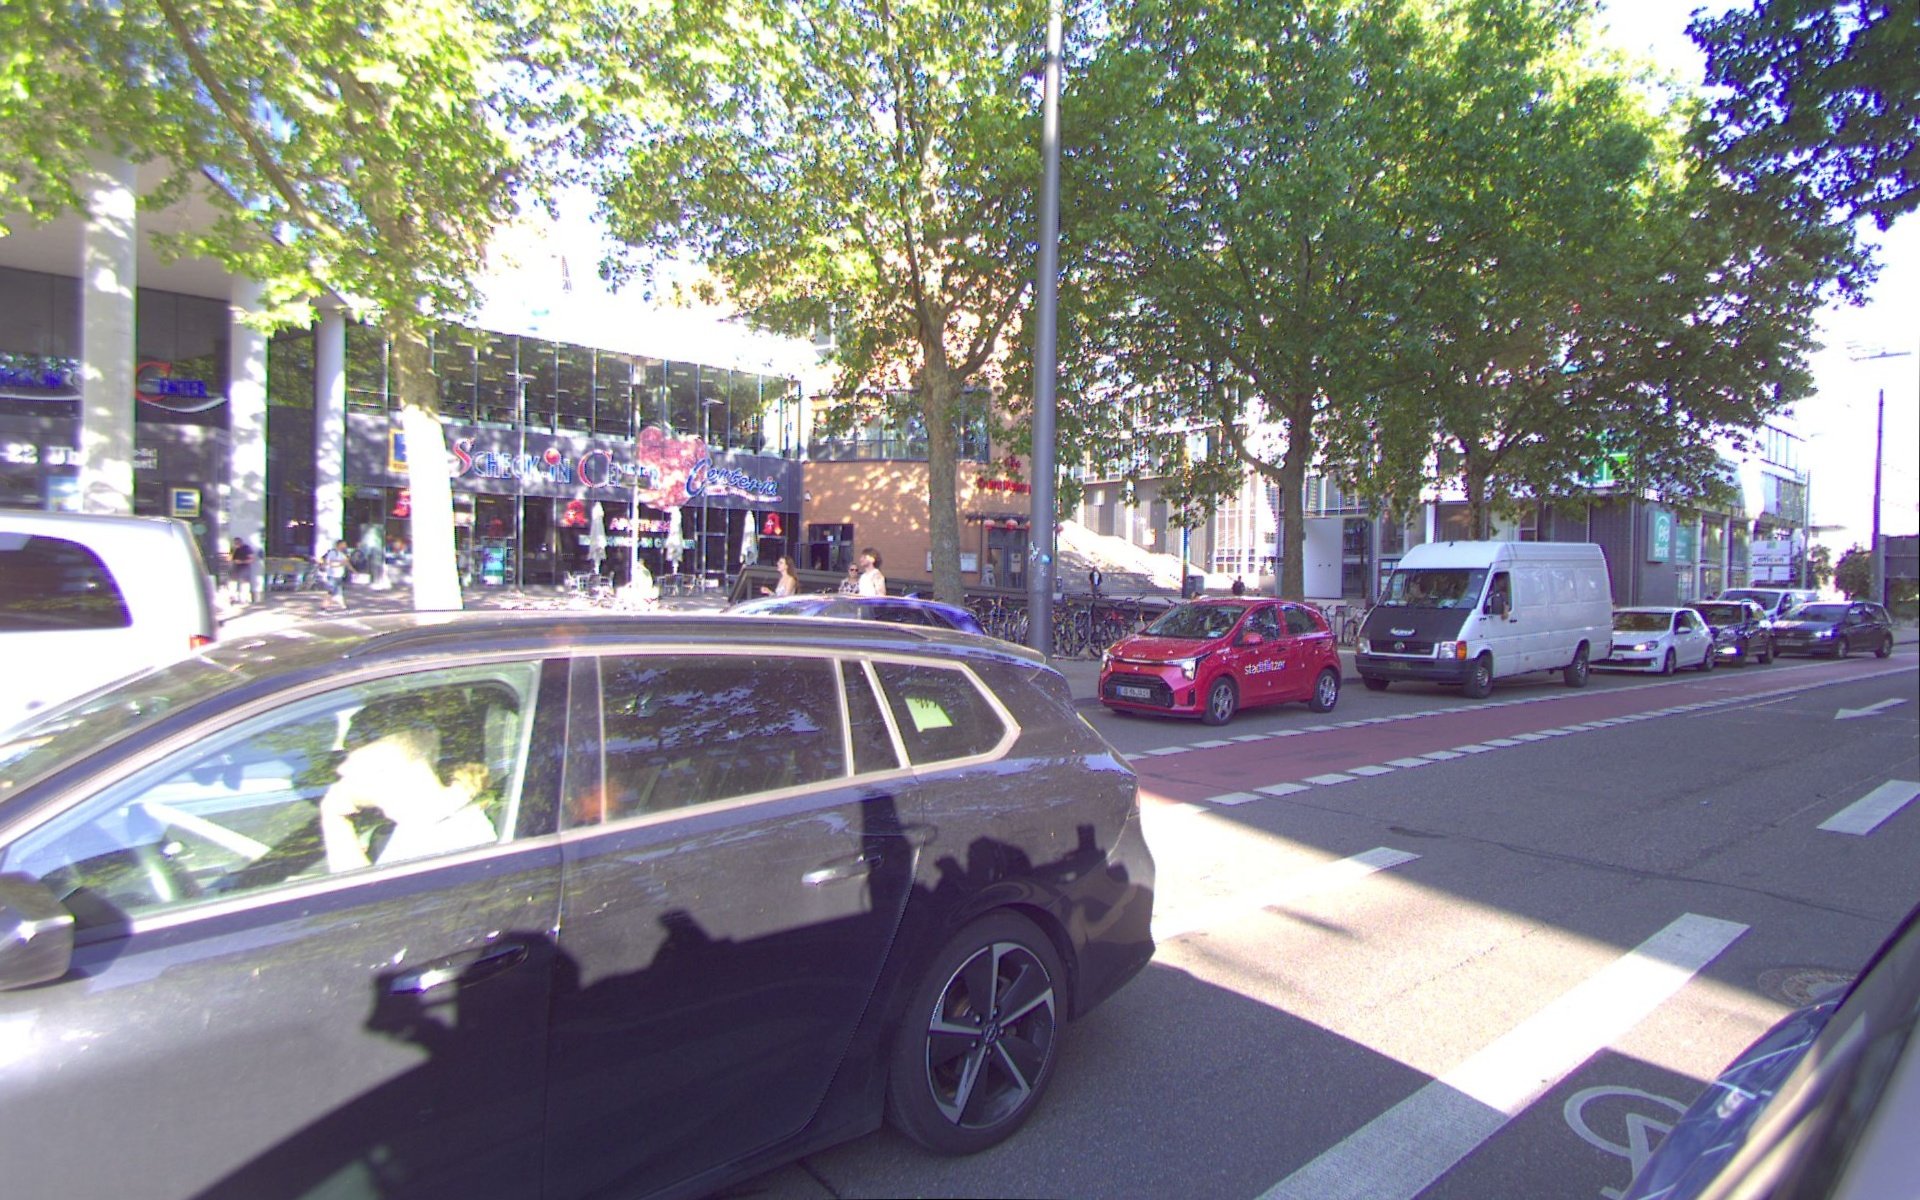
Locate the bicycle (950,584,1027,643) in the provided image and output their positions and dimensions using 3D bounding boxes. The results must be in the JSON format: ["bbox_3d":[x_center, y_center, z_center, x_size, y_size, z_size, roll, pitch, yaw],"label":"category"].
[{"bbox_3d":[0.632,0.273,21.698,1.818,1.209,0.434,0,1,-41],"label":"bicycle"}]

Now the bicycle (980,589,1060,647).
[{"bbox_3d":[1.251,0.353,20.965,1.818,1.139,0.484,0,2,-41],"label":"bicycle"}]

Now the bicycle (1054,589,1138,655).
[{"bbox_3d":[2.617,0.400,19.361,1.818,1.209,0.481,0,1,-41],"label":"bicycle"}]

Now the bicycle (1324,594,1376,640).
[{"bbox_3d":[10.660,0.459,27.628,1.818,1.209,0.495,0,1,-41],"label":"bicycle"}]

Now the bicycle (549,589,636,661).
[{"bbox_3d":[-5.877,0.379,16.232,0.414,1.110,1.269,2,1,41],"label":"bicycle"}]

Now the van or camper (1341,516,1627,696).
[{"bbox_3d":[9.269,0.077,17.556,6.456,2.611,1.998,0,0,-39],"label":"van or camper"}]

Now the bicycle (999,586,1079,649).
[{"bbox_3d":[1.624,0.340,20.517,1.818,1.209,0.447,0,1,-41],"label":"bicycle"}]

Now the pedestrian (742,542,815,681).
[{"bbox_3d":[-2.449,0.140,13.614,0.749,1.799,0.649,1,1,-33],"label":"pedestrian"}]

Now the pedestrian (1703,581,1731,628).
[{"bbox_3d":[29.041,0.167,38.822,0.516,1.790,0.716,0,1,-39],"label":"pedestrian"}]

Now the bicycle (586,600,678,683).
[{"bbox_3d":[-4.585,0.566,14.177,1.202,1.110,0.269,0,1,-40],"label":"bicycle"}]

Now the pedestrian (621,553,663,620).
[{"bbox_3d":[-8.311,-0.360,26.493,0.793,1.728,0.716,1,1,10],"label":"pedestrian"}]

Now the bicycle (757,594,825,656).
[{"bbox_3d":[-3.135,0.446,18.820,1.202,1.110,0.427,0,1,-40],"label":"bicycle"}]

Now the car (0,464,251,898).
[{"bbox_3d":[-6.220,0.347,4.367,5.008,2.004,1.940,0,2,-41],"label":"car"}]

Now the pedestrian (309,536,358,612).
[{"bbox_3d":[-15.227,-0.633,24.599,0.868,1.805,0.604,1,1,-16],"label":"pedestrian"}]

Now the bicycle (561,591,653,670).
[{"bbox_3d":[-5.161,0.425,14.836,1.202,1.110,0.396,0,1,-40],"label":"bicycle"}]

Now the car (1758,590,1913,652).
[{"bbox_3d":[25.219,0.581,29.148,4.242,1.640,1.970,0,1,-28],"label":"car"}]

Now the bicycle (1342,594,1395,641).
[{"bbox_3d":[10.998,0.450,27.209,1.818,1.209,0.521,0,2,-41],"label":"bicycle"}]

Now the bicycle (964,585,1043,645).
[{"bbox_3d":[0.930,0.298,21.345,1.818,1.209,0.458,0,1,-41],"label":"bicycle"}]

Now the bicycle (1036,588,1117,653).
[{"bbox_3d":[2.294,0.389,19.747,1.818,1.209,0.448,0,1,-41],"label":"bicycle"}]

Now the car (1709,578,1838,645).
[{"bbox_3d":[26.427,0.346,32.830,4.863,2.020,1.968,0,1,-35],"label":"car"}]

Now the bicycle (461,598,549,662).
[{"bbox_3d":[-6.963,0.455,15.539,1.198,0.930,0.442,1,1,-22],"label":"bicycle"}]

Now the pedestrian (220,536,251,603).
[{"bbox_3d":[-18.768,-0.799,26.224,0.506,1.707,0.604,1,1,-23],"label":"pedestrian"}]

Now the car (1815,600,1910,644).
[{"bbox_3d":[31.687,0.738,35.517,3.927,1.394,1.802,0,2,-38],"label":"car"}]

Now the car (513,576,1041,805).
[{"bbox_3d":[-1.383,0.587,8.677,4.177,1.504,1.741,0,0,-41],"label":"car"}]

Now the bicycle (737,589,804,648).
[{"bbox_3d":[-3.647,0.345,19.502,1.202,1.110,0.444,0,1,-40],"label":"bicycle"}]

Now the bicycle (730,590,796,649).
[{"bbox_3d":[-3.892,0.374,20.045,1.202,1.110,0.429,0,1,-40],"label":"bicycle"}]

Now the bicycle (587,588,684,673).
[{"bbox_3d":[-4.439,0.400,13.880,1.202,1.110,0.413,0,1,-40],"label":"bicycle"}]

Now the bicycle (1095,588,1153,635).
[{"bbox_3d":[4.396,0.307,27.050,1.759,1.209,0.517,0,1,-41],"label":"bicycle"}]

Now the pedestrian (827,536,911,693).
[{"bbox_3d":[-1.131,0.165,12.583,0.798,1.868,0.644,1,1,-36],"label":"pedestrian"}]

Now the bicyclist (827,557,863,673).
[{"bbox_3d":[-1.795,0.228,15.802,0.392,1.782,0.390,0,1,-41],"label":"bicyclist"}]

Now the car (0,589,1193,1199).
[{"bbox_3d":[-1.414,0.694,2.453,4.196,1.432,1.742,0,0,-41],"label":"car"}]

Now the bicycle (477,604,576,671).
[{"bbox_3d":[-6.242,0.520,14.592,1.231,0.898,0.462,0,1,-40],"label":"bicycle"}]

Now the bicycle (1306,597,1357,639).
[{"bbox_3d":[10.304,0.482,28.040,1.766,1.108,0.522,0,2,-41],"label":"bicycle"}]

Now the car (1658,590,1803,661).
[{"bbox_3d":[19.467,0.593,25.520,4.148,1.640,1.819,0,1,-36],"label":"car"}]

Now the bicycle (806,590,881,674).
[{"bbox_3d":[-1.805,0.482,15.801,1.126,1.271,0.379,0,1,-41],"label":"bicycle"}]

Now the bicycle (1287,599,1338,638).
[{"bbox_3d":[9.921,0.507,28.451,1.818,1.046,0.515,0,2,-41],"label":"bicycle"}]

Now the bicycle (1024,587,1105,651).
[{"bbox_3d":[2.106,0.364,20.255,1.818,1.209,0.484,0,1,-41],"label":"bicycle"}]

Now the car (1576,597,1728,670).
[{"bbox_3d":[15.296,0.678,22.303,3.927,1.446,1.683,0,1,-38],"label":"car"}]

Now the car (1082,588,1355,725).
[{"bbox_3d":[3.359,0.609,12.835,3.588,1.476,1.605,0,1,-41],"label":"car"}]

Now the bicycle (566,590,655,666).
[{"bbox_3d":[-5.364,0.407,15.585,0.372,1.110,1.269,2,1,41],"label":"bicycle"}]

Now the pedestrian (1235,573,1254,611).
[{"bbox_3d":[12.098,-0.354,43.026,0.707,1.578,0.638,1,1,14],"label":"pedestrian"}]

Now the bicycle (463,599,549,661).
[{"bbox_3d":[-7.125,0.464,15.917,1.198,0.938,0.465,1,1,-22],"label":"bicycle"}]

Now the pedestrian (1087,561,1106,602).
[{"bbox_3d":[6.796,-0.924,50.454,0.861,2.062,0.585,1,1,6],"label":"pedestrian"}]
